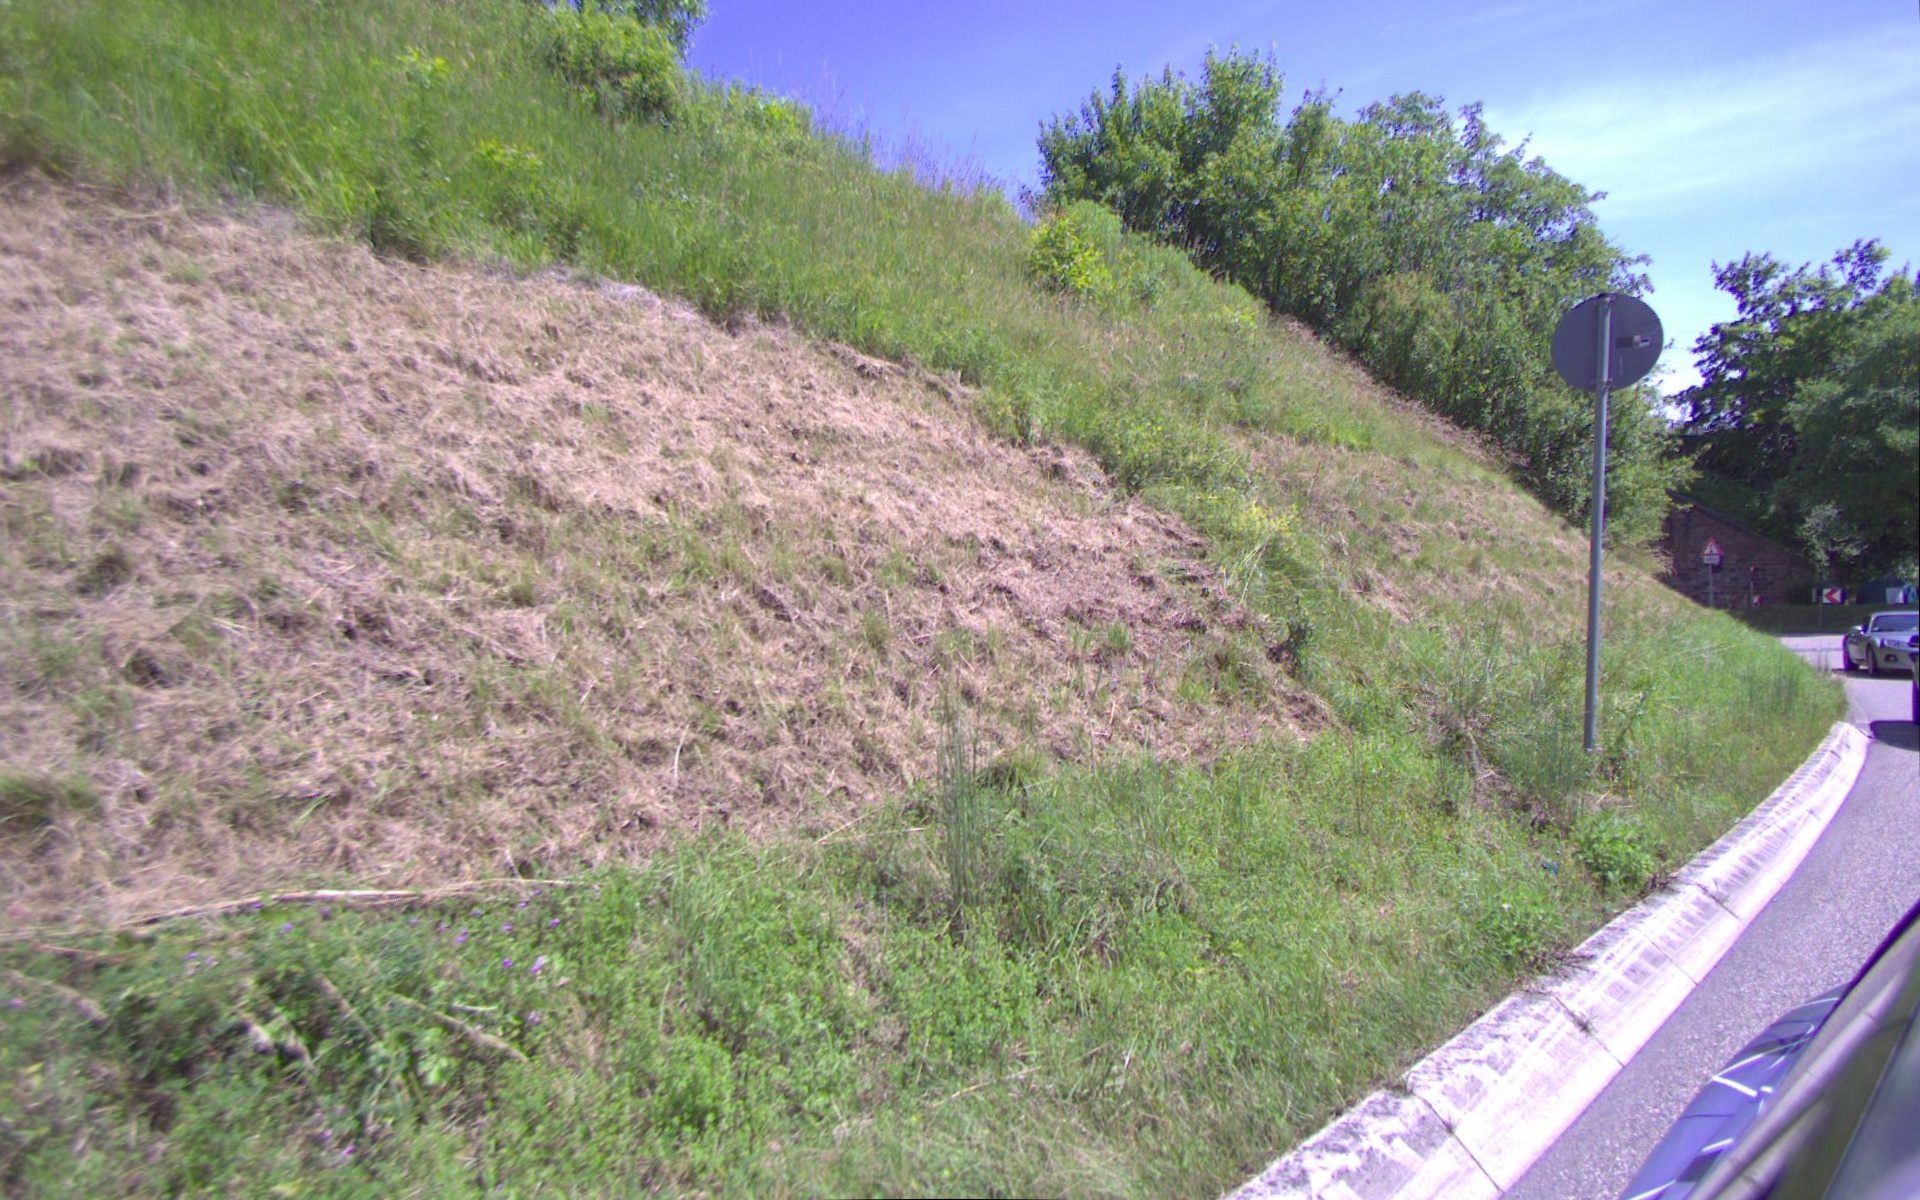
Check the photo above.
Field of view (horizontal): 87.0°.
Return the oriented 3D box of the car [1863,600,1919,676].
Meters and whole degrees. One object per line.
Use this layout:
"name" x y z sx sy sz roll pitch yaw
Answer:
"car" 18.763 0.712 19.721 1.642 1.338 3.387 3 2 41
